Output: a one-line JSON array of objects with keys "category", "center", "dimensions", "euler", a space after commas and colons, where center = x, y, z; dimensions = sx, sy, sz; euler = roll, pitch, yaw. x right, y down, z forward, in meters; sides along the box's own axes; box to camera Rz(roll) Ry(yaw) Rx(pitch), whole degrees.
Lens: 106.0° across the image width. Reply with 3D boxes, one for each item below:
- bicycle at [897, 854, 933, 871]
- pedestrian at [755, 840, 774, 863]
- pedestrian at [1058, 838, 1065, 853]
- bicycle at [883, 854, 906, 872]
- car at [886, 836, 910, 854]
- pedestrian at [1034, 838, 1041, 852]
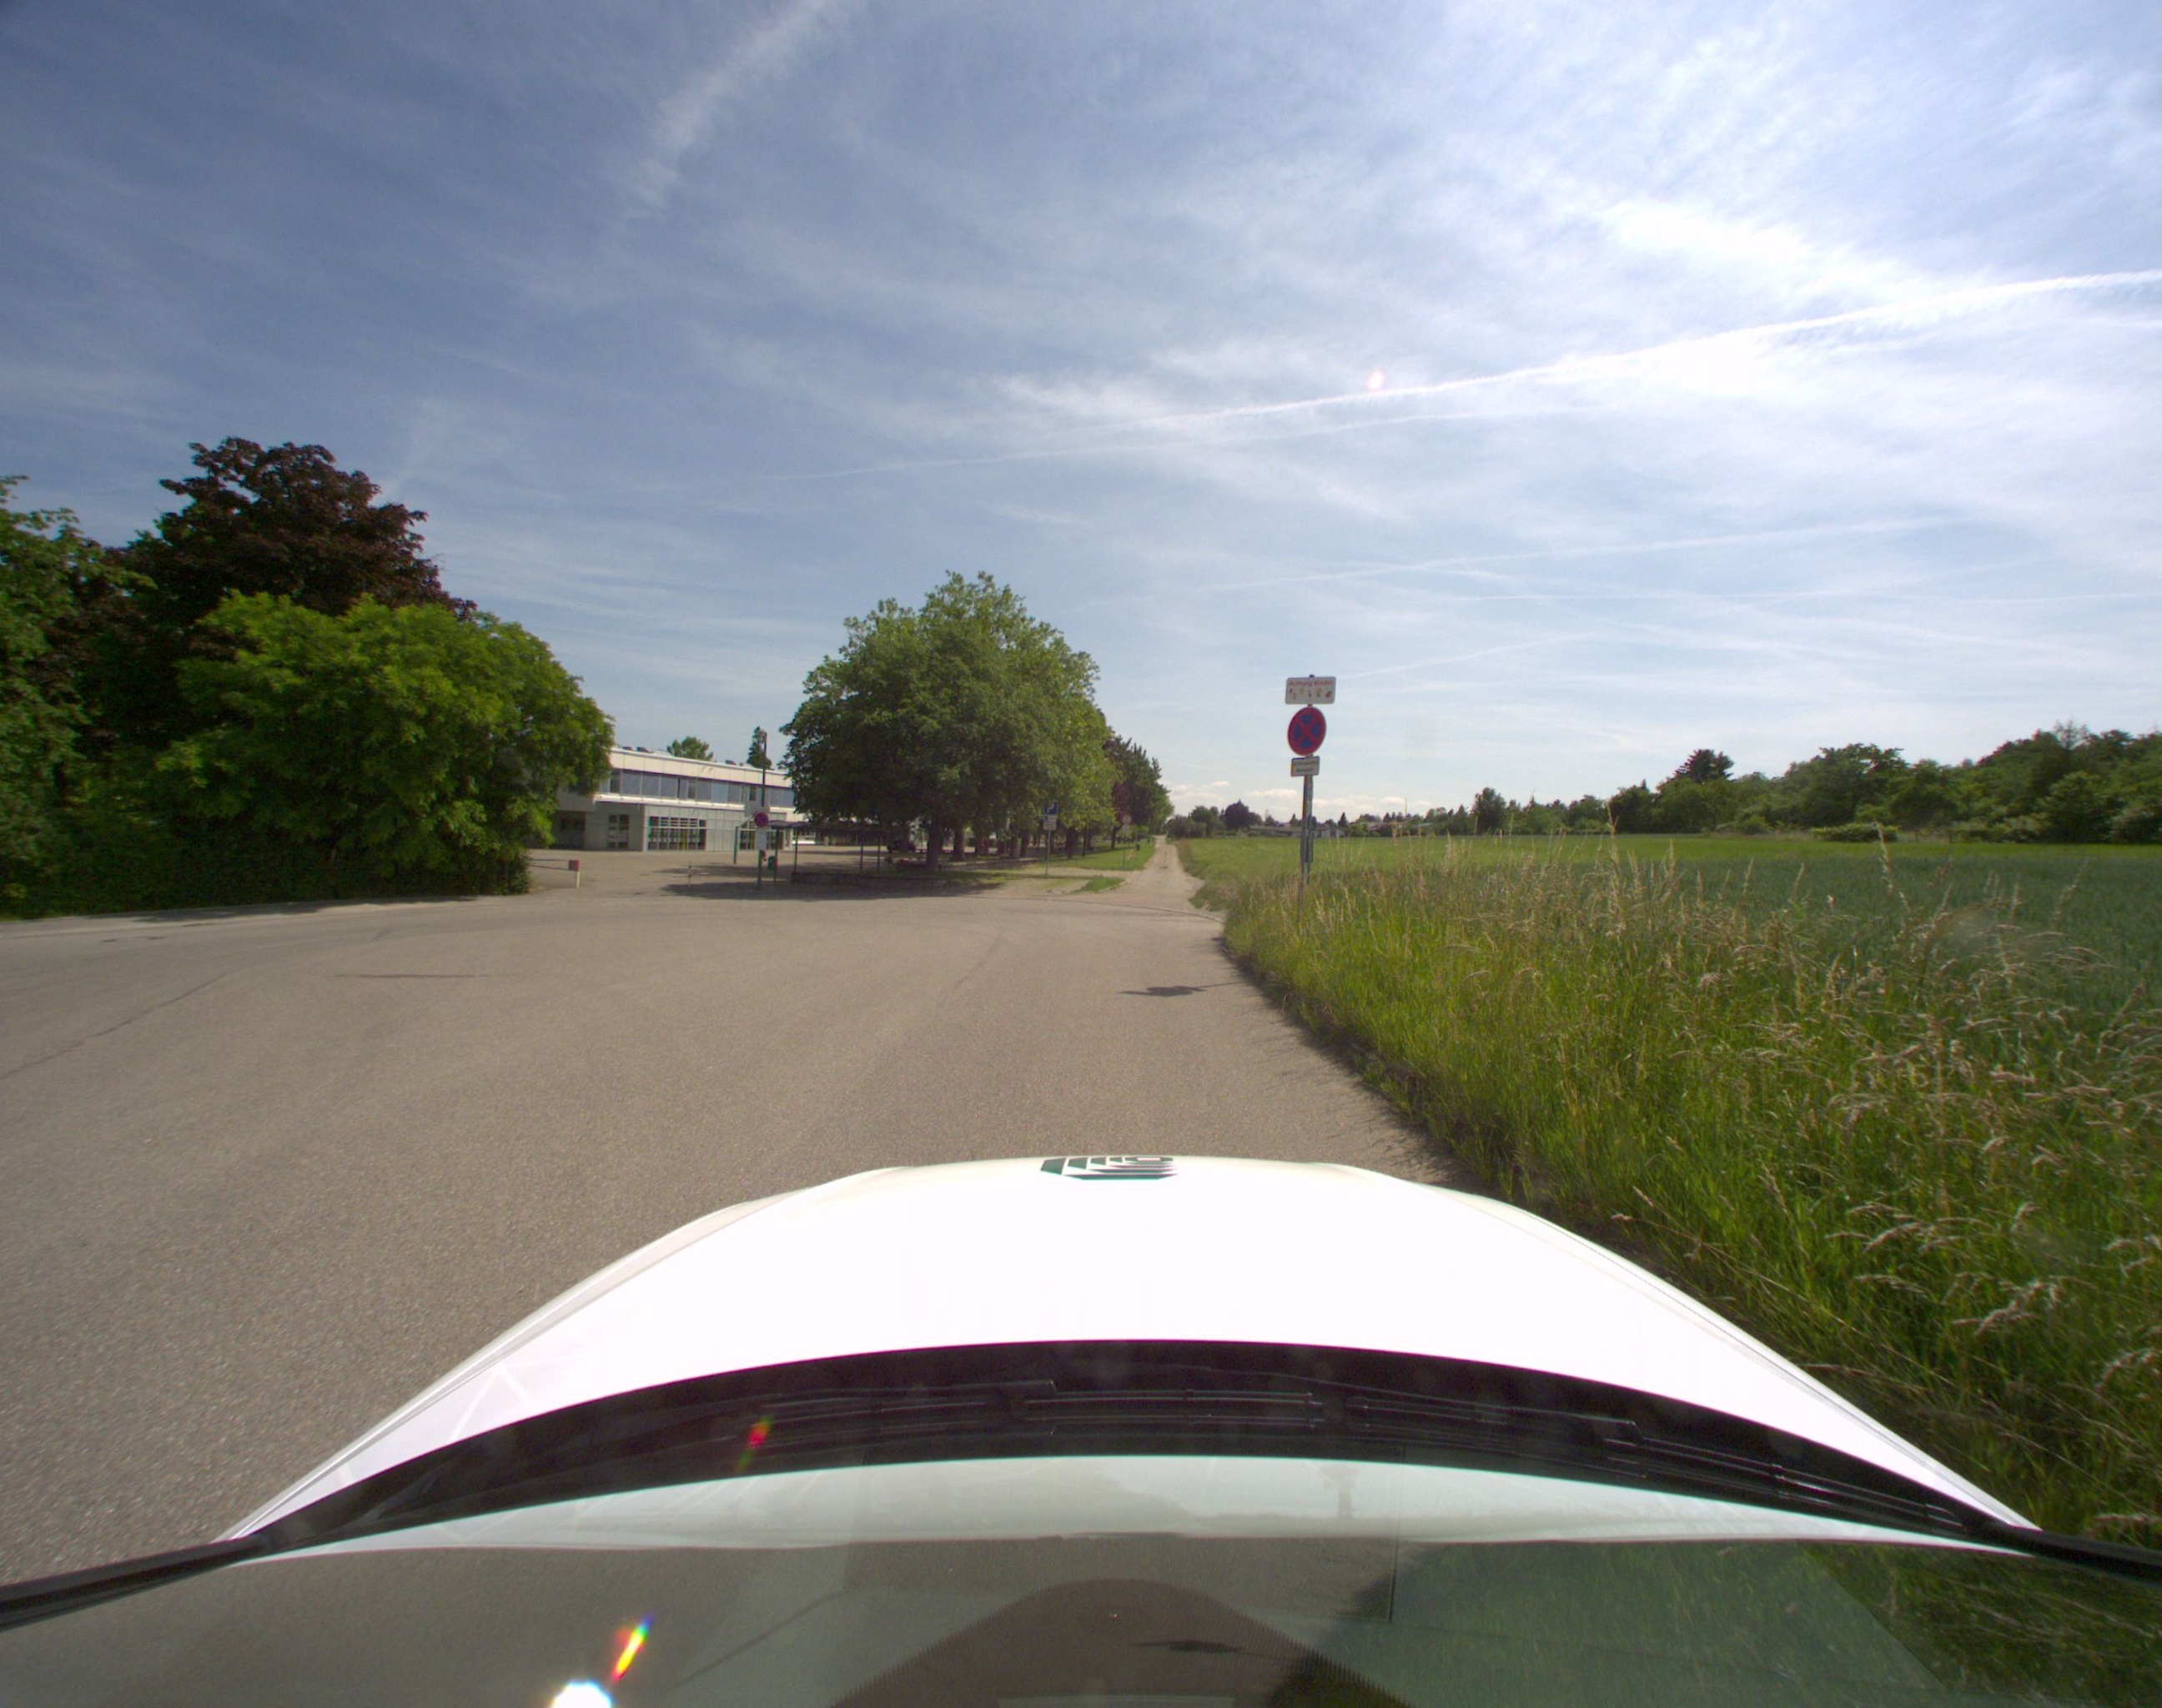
[{"category": "bicycle", "center": [-10.326, 0.528, 50.694], "dimensions": [2.058, 1.039, 0.571], "euler": [1, 0, -4]}, {"category": "pedestrian", "center": [-20.329, -0.147, 52.286], "dimensions": [1.070, 1.423, 0.913], "euler": [2, 0, -23]}, {"category": "pedestrian", "center": [-2.573, -1.093, 107.822], "dimensions": [0.686, 2.013, 0.796], "euler": [2, 0, -28]}, {"category": "bicycle", "center": [-11.143, 0.541, 48.653], "dimensions": [0.590, 1.039, 1.899], "euler": [1, 1, 12]}, {"category": "car", "center": [-19.752, -0.997, 87.976], "dimensions": [1.684, 1.834, 3.413], "euler": [2, 0, 3]}, {"category": "pedestrian", "center": [-6.175, -1.287, 116.005], "dimensions": [0.833, 2.013, 0.689], "euler": [2, 0, -11]}]
